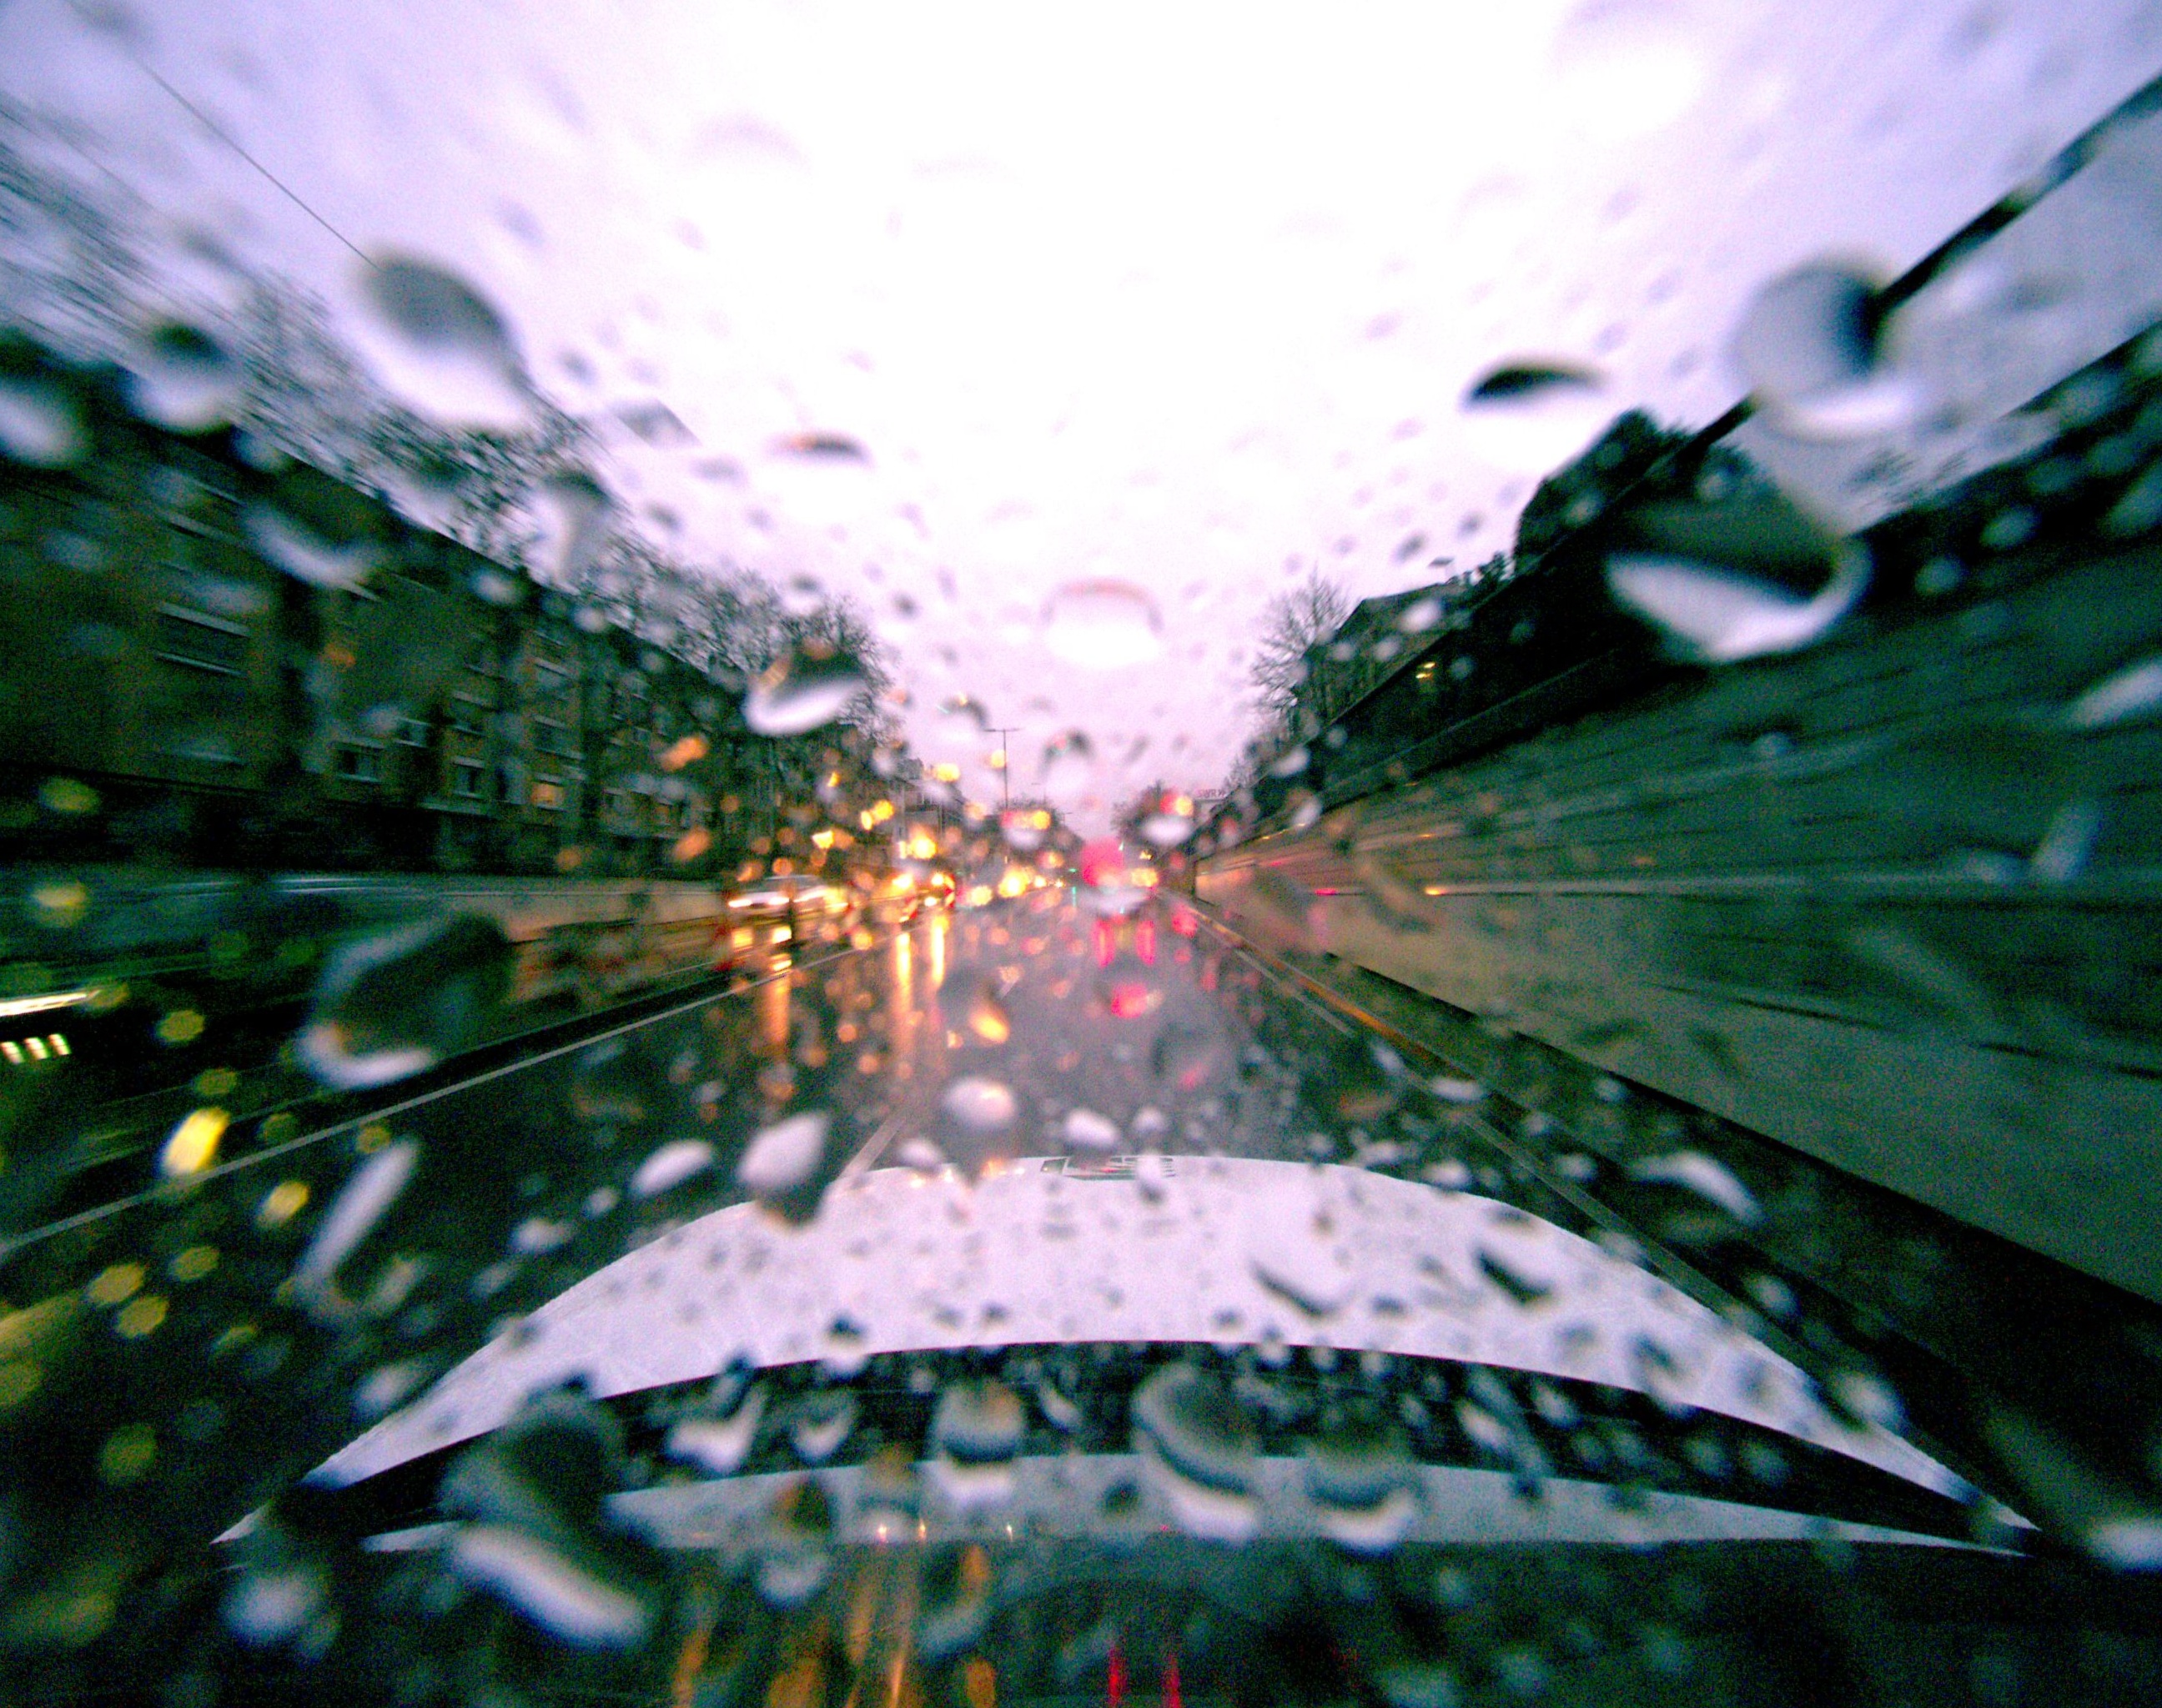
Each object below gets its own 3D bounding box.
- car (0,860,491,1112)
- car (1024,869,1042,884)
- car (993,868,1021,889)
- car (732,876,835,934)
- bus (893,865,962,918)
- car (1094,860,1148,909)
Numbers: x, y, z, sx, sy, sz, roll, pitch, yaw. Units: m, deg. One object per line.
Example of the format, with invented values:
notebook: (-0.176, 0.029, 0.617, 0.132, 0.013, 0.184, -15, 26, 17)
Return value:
car: (-7.690, 0.938, 7.293, 1.778, 1.592, 3.844, -4, 0, 3)
car: (-5.044, 2.345, 85.983, 1.491, 1.383, 3.434, -4, 0, 1)
car: (-5.621, 1.835, 62.091, 1.602, 1.383, 3.697, -4, 0, 2)
car: (-9.502, 1.580, 26.336, 1.667, 1.491, 3.876, -4, 0, 2)
bus: (-6.569, 1.547, 35.468, 1.668, 1.965, 5.177, -5, -1, 2)
car: (1.230, 0.942, 25.400, 1.526, 1.397, 3.435, -1, -2, 2)
